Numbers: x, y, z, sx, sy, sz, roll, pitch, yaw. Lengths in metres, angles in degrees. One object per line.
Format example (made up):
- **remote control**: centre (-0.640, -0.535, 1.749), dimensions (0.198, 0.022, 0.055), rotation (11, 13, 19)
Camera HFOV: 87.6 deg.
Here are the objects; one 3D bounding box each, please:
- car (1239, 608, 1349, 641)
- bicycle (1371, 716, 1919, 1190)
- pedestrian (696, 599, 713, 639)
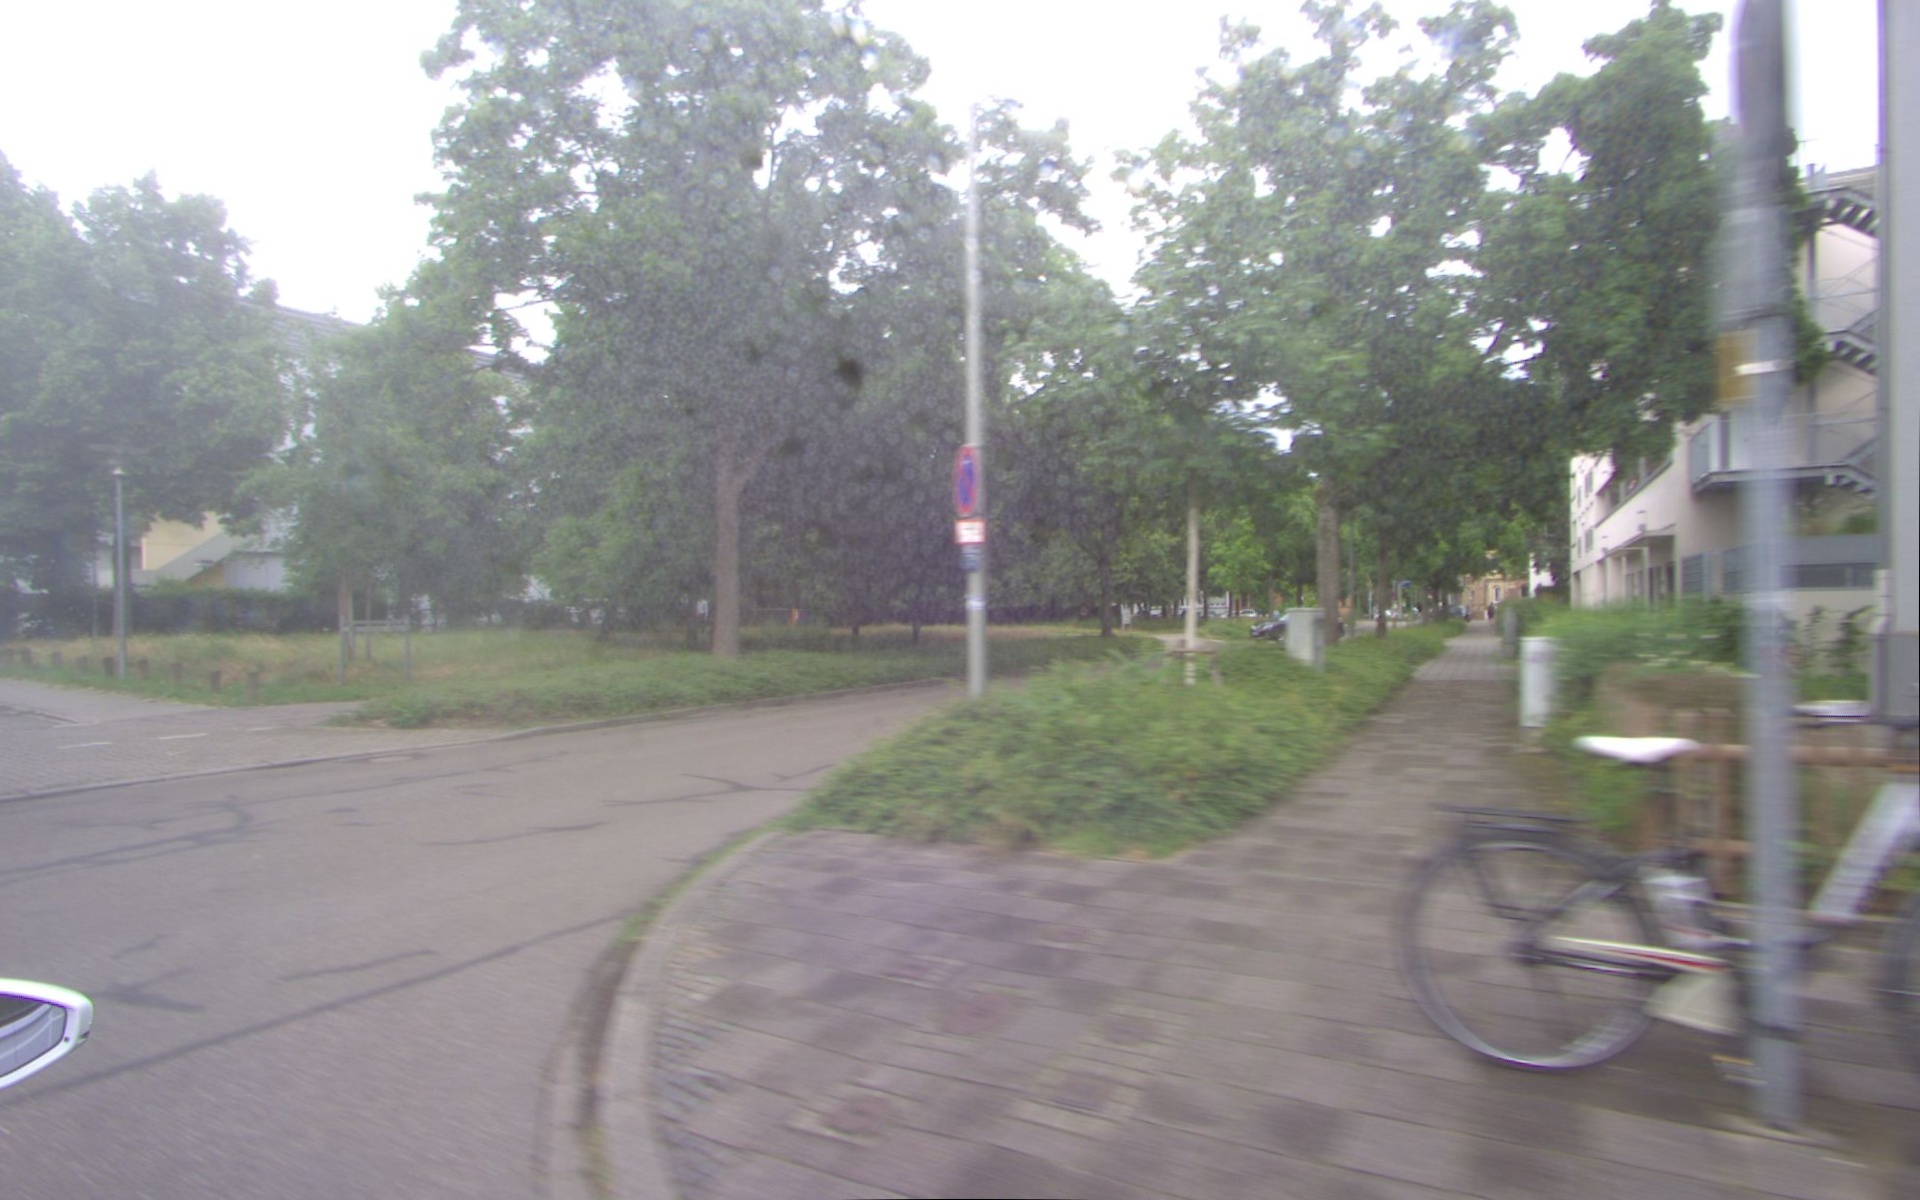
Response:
- **car**: centre (15.582, 1.138, 46.848), dimensions (4.453, 1.505, 1.999), rotation (0, 0, -7)
- **bicycle**: centre (2.161, 0.872, 2.694), dimensions (1.862, 1.017, 0.566), rotation (-3, 1, 31)
- **pedestrian**: centre (-12.007, 0.888, 46.981), dimensions (0.537, 1.822, 0.568), rotation (1, 1, 41)
